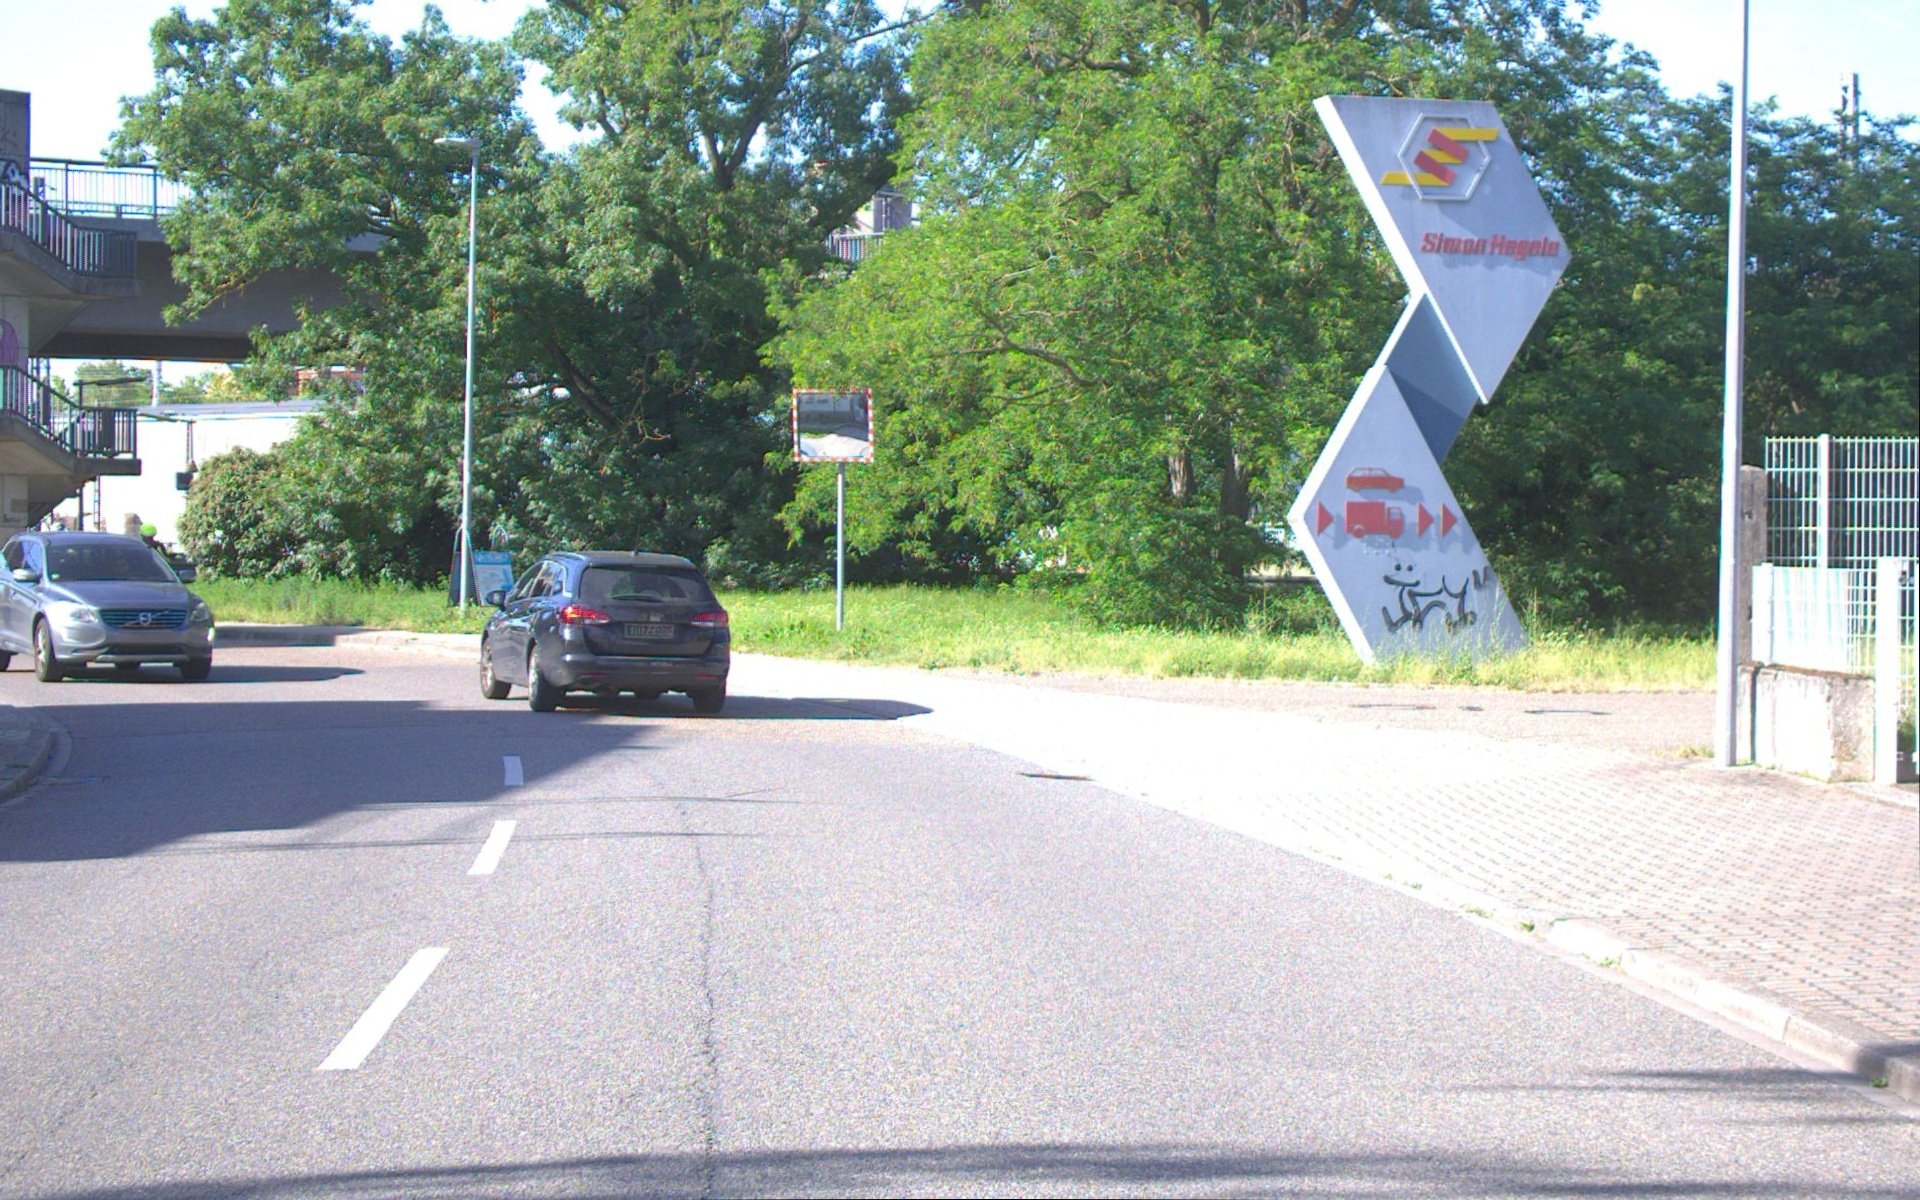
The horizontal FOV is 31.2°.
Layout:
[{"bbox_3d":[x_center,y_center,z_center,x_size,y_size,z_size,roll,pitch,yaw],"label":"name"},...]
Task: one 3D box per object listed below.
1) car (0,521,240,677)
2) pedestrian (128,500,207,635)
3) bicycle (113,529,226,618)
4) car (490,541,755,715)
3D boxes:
[{"bbox_3d":[-9.842,-0.063,39.664,1.993,1.681,4.206,-1,2,-27],"label":"car"},{"bbox_3d":[-12.024,-0.497,52.154,0.780,2.007,0.868,2,0,-40],"label":"pedestrian"},{"bbox_3d":[-11.954,-0.412,51.956,0.803,1.263,2.258,2,0,-36],"label":"bicycle"},{"bbox_3d":[-3.250,0.208,32.427,1.846,1.525,4.001,0,1,-15],"label":"car"}]
